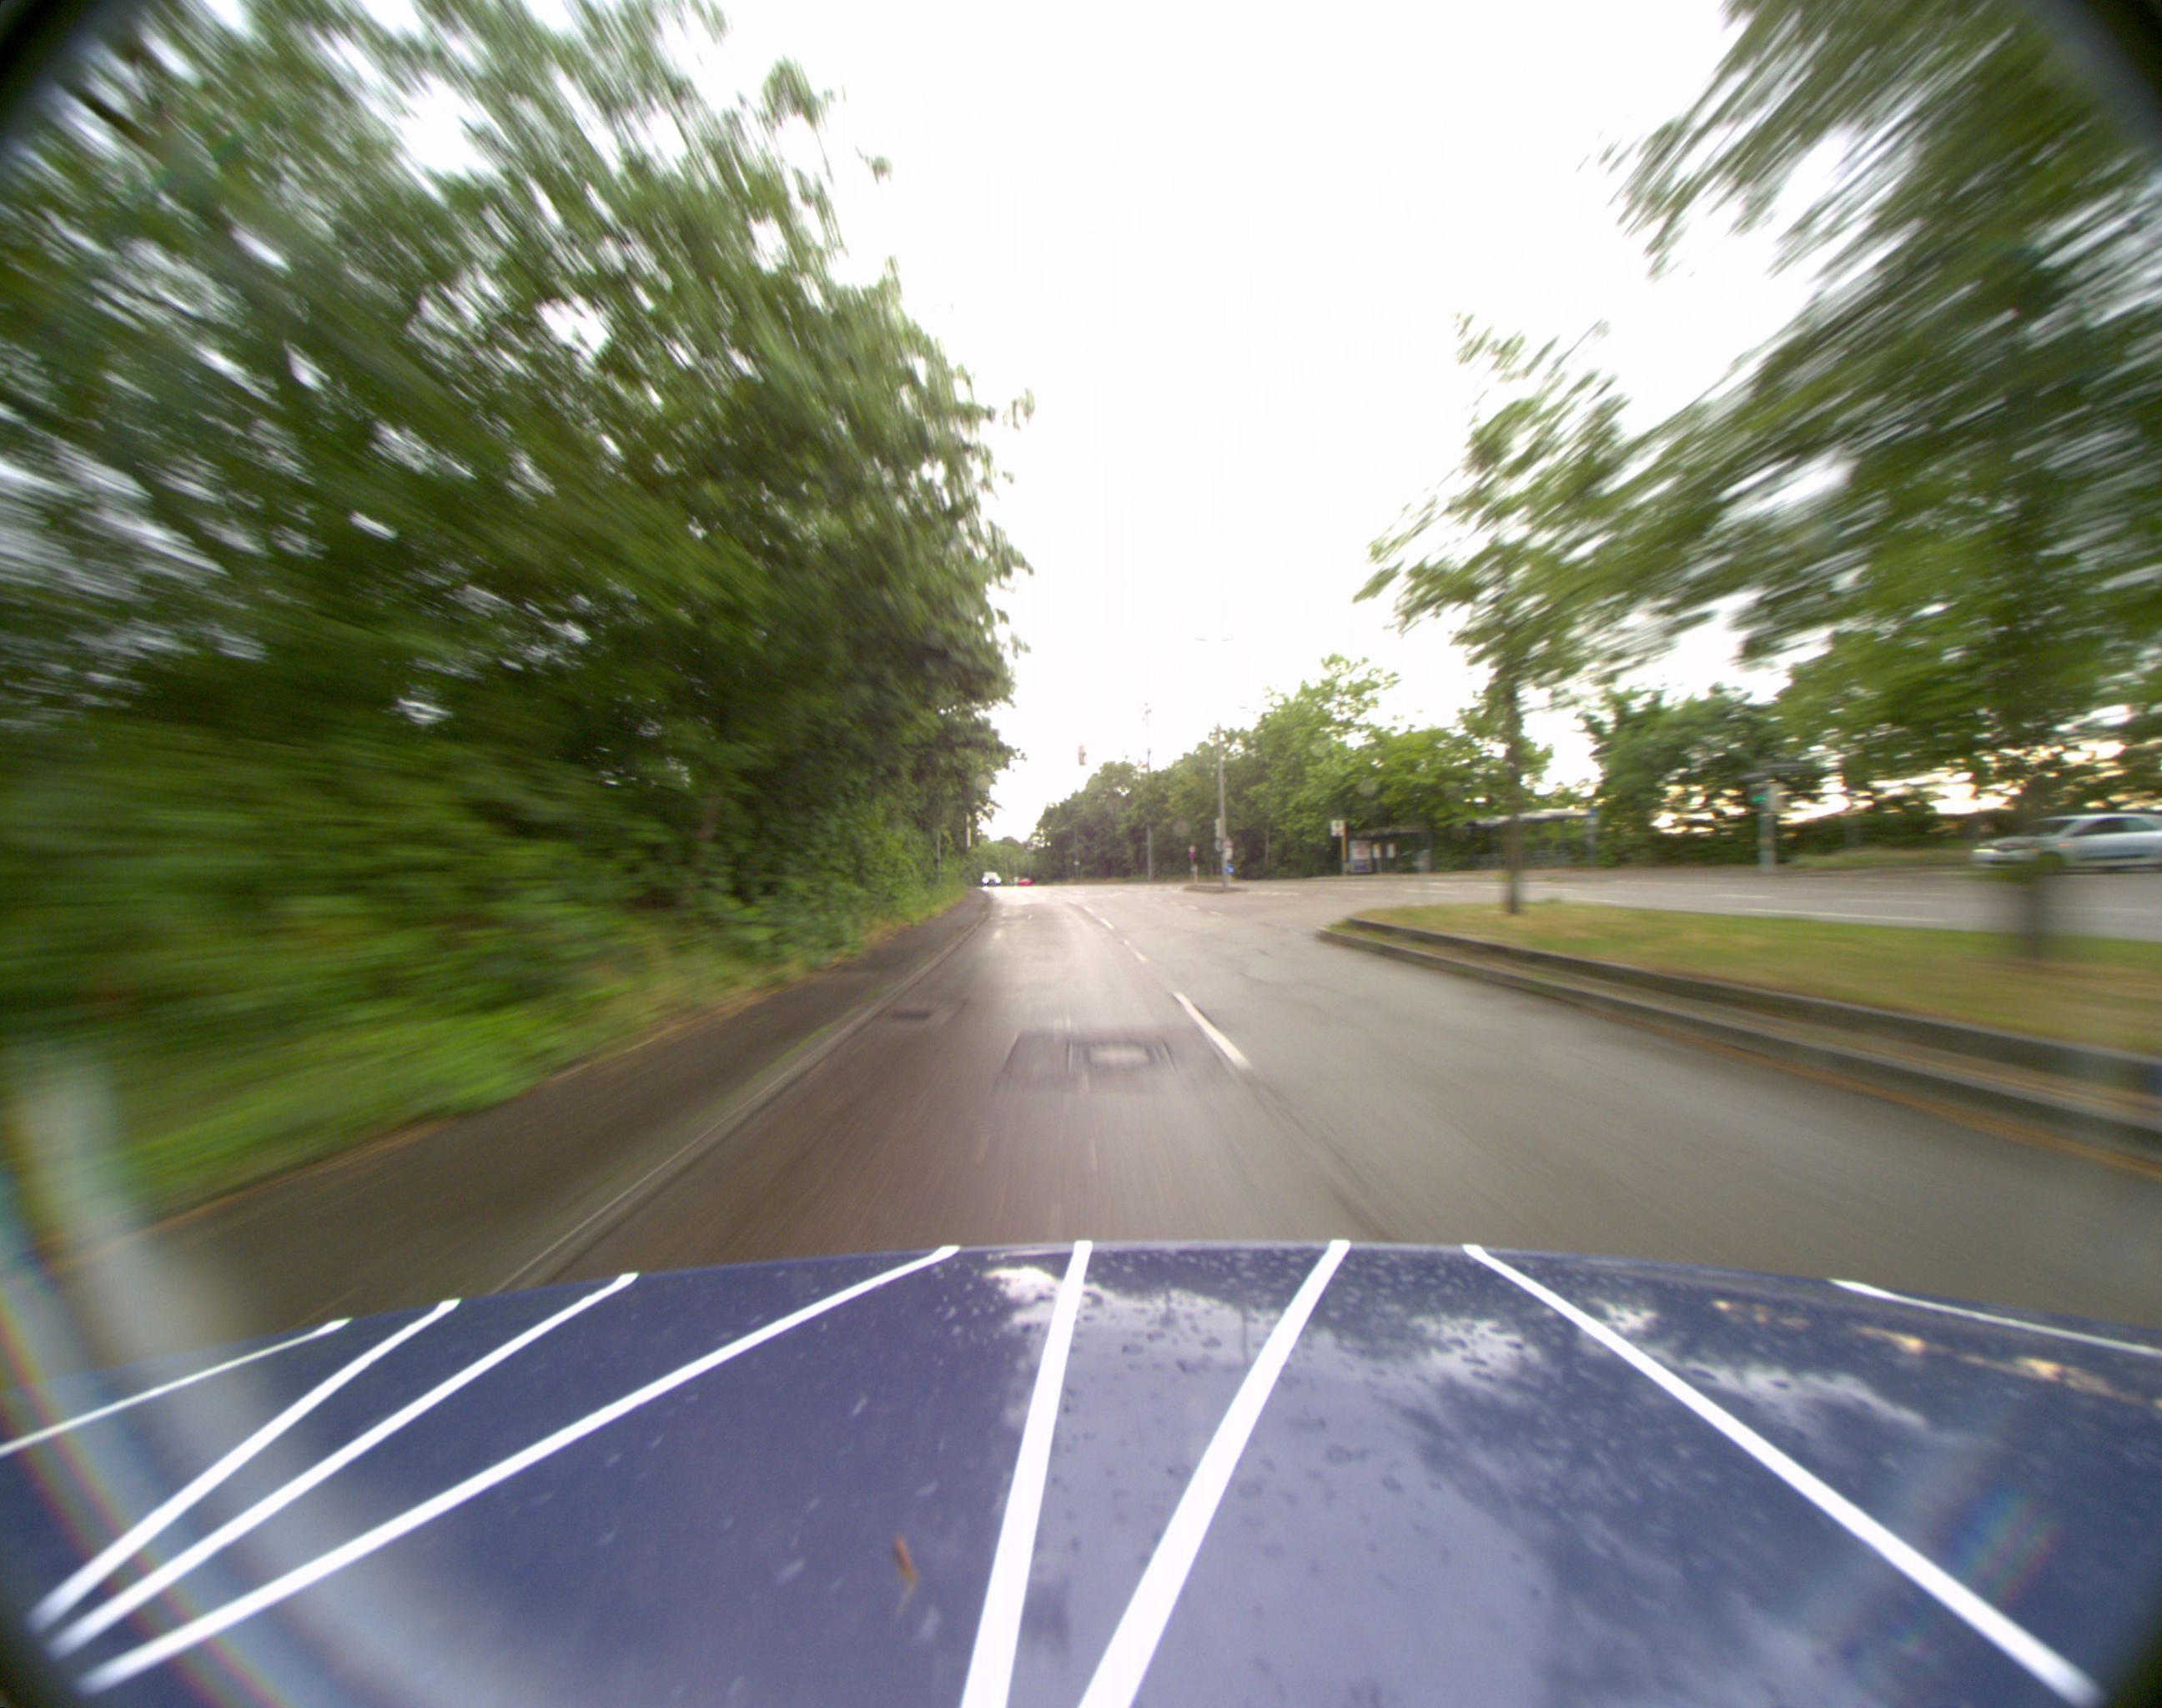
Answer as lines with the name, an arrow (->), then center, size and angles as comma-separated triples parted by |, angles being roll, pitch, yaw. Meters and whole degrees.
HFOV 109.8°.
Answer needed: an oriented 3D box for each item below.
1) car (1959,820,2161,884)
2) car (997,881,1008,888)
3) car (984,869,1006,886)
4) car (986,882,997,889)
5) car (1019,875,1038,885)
car -> 26.123, -0.058, 19.927 | 3.691, 1.469, 1.763 | -3, 0, 13
car -> -15.210, 5.852, 146.966 | 1.637, 1.385, 3.996 | -1, -2, -15
car -> -8.227, 2.298, 73.146 | 1.999, 1.576, 4.000 | 0, -3, -5
car -> -18.996, 6.751, 160.946 | 1.707, 1.418, 4.074 | 0, -3, -16
car -> -7.814, 3.887, 113.159 | 1.882, 1.365, 4.380 | -1, -2, -16
